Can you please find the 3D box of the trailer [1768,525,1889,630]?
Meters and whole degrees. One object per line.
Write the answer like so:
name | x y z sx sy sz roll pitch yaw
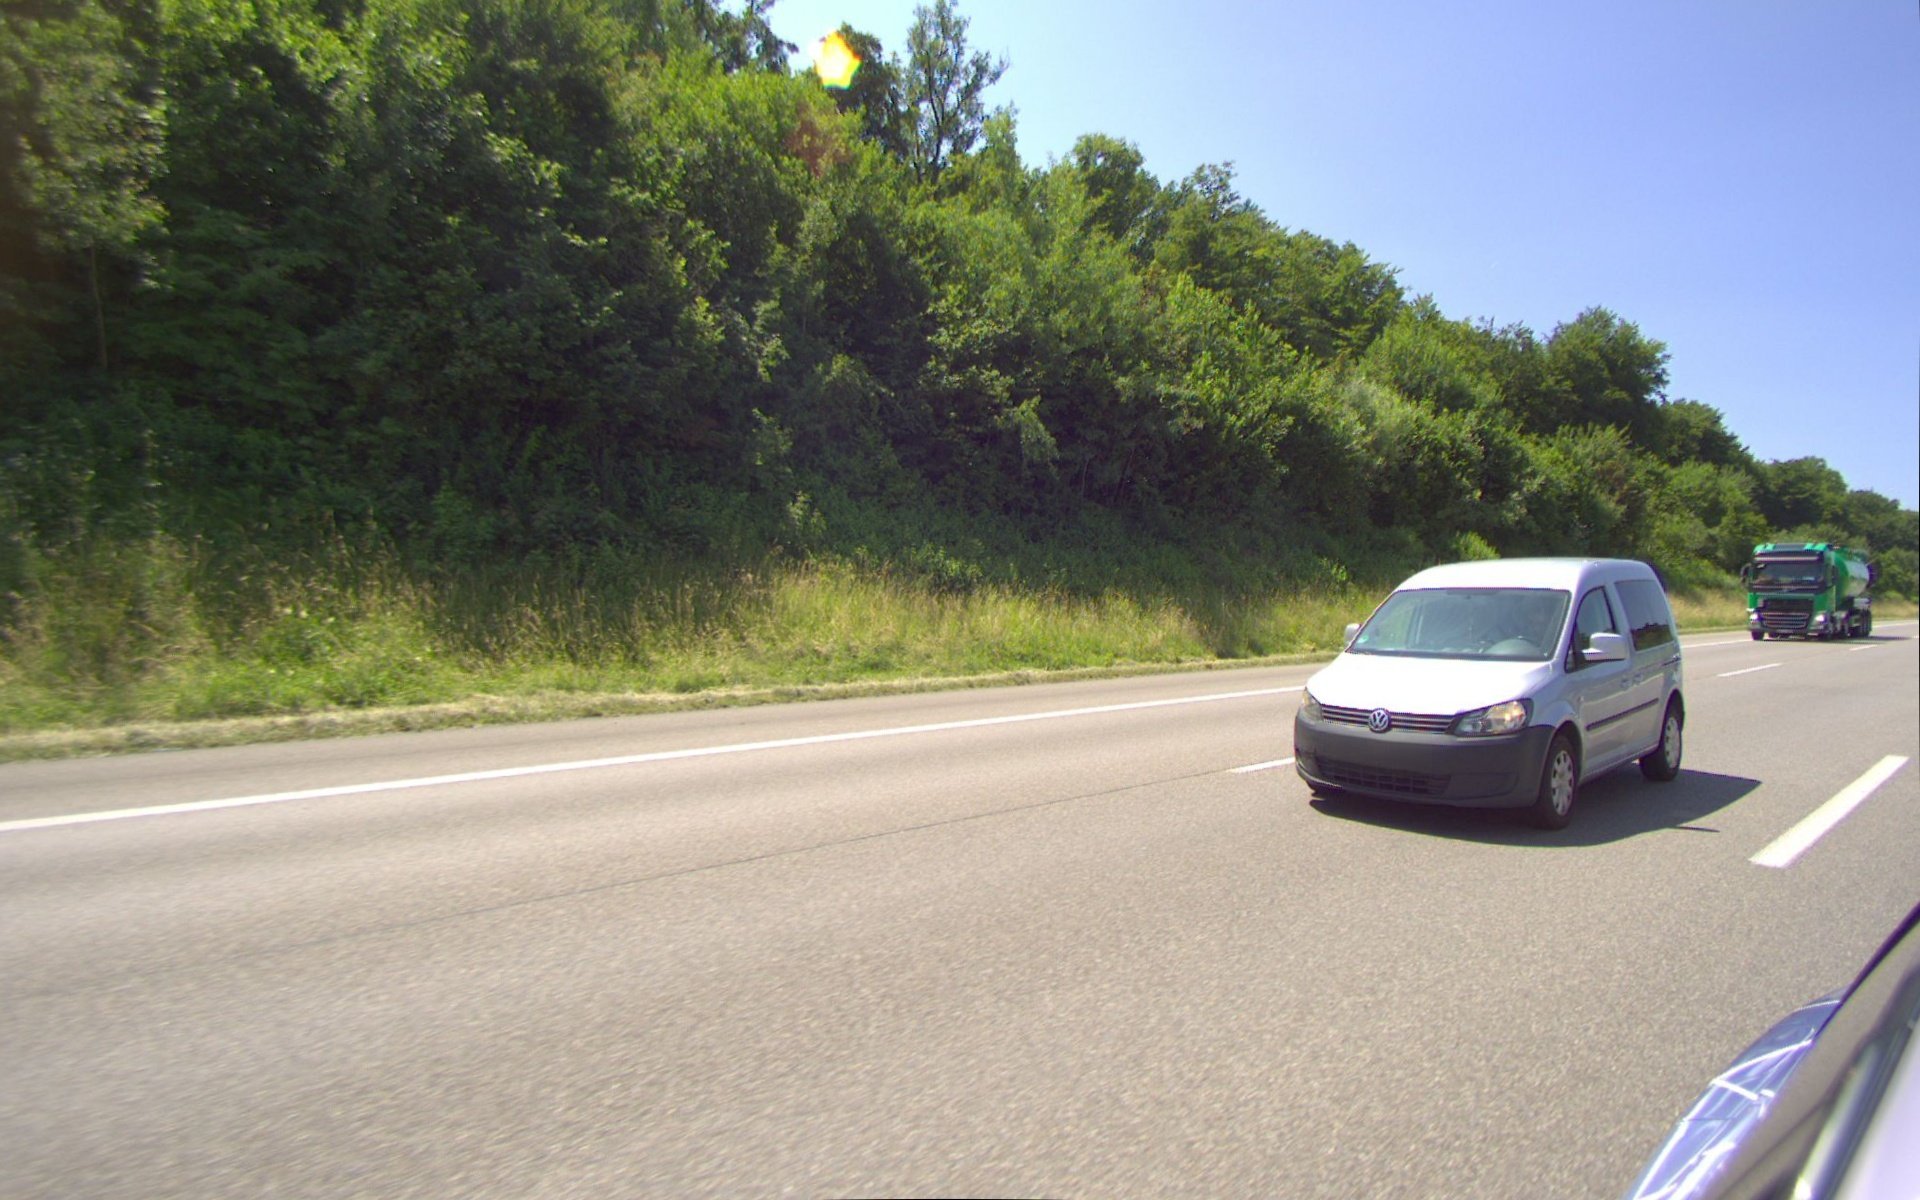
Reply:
trailer | 37.440 -0.817 43.460 10.287 4.079 2.591 1 -1 -42

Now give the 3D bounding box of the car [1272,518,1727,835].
car | 4.560 0.436 8.162 4.718 1.853 1.748 0 0 -42

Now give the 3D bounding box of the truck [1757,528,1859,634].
truck | 33.270 -0.665 39.656 4.809 3.891 2.512 1 -1 -43
